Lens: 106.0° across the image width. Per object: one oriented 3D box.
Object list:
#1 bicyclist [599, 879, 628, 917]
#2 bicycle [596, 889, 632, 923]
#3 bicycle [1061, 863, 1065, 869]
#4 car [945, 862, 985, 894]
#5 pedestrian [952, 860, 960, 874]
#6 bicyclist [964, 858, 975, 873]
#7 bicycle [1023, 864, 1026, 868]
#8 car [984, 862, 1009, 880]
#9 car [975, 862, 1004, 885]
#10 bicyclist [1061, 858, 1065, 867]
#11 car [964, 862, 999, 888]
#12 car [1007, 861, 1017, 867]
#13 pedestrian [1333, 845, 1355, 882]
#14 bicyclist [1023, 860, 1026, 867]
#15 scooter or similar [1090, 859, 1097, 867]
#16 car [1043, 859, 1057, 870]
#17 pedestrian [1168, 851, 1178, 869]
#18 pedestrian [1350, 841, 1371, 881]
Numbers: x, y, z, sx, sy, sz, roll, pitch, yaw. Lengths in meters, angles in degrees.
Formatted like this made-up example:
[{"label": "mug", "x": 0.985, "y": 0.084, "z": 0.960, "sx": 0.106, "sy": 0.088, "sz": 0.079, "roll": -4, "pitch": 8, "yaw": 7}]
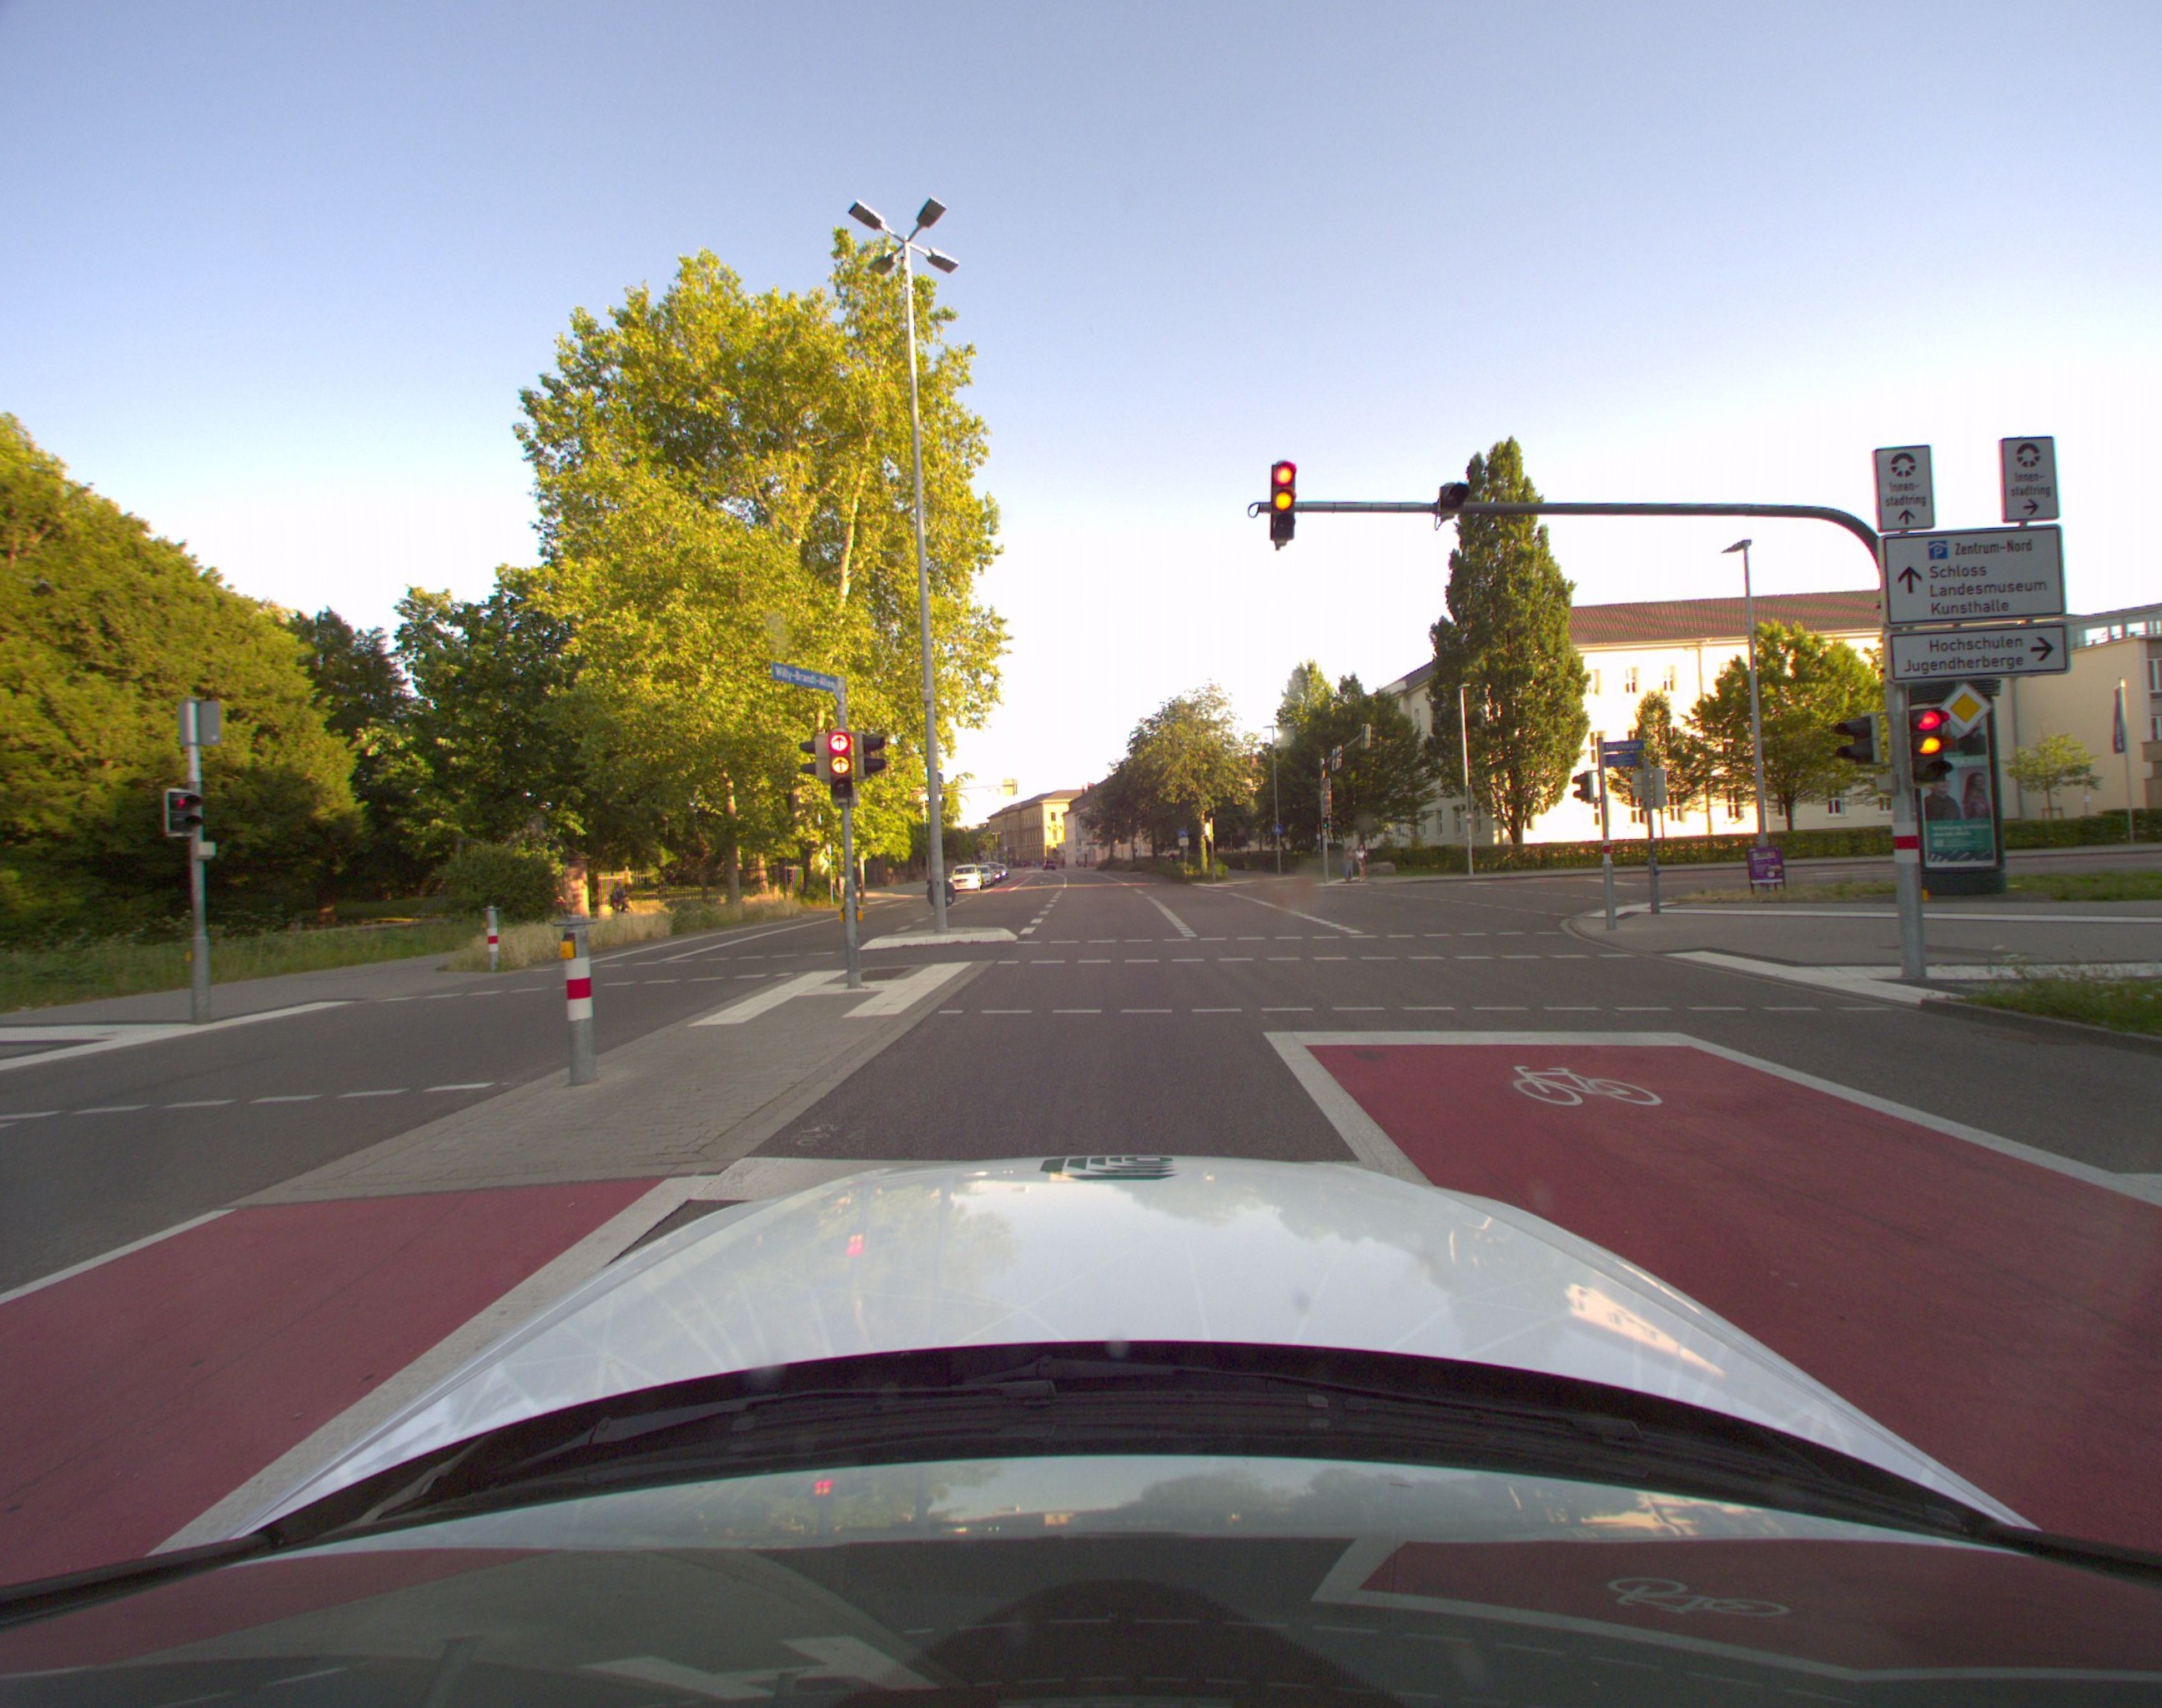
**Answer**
[{"label": "bicyclist", "x": -18.448, "y": 1.732, "z": 32.150, "sx": 0.796, "sy": 1.427, "sz": 0.881, "roll": -2, "pitch": -1, "yaw": -42}, {"label": "bicycle", "x": -18.423, "y": 2.028, "z": 32.110, "sx": 0.796, "sy": 1.256, "sz": 1.956, "roll": -2, "pitch": -1, "yaw": -41}, {"label": "bicycle", "x": -3.062, "y": 1.966, "z": 137.795, "sx": 0.650, "sy": 1.015, "sz": 2.195, "roll": 0, "pitch": -1, "yaw": -3}, {"label": "car", "x": -7.171, "y": 1.447, "z": 50.671, "sx": 1.912, "sy": 1.695, "sz": 4.422, "roll": -5, "pitch": 0, "yaw": -2}, {"label": "pedestrian", "x": -14.568, "y": 1.526, "z": 94.740, "sx": 0.678, "sy": 1.622, "sz": 0.689, "roll": -3, "pitch": 0, "yaw": 1}, {"label": "bicyclist", "x": -10.493, "y": 1.078, "z": 76.550, "sx": 0.852, "sy": 1.431, "sz": 0.944, "roll": -3, "pitch": 0, "yaw": 2}, {"label": "bicycle", "x": -13.810, "y": 2.946, "z": 199.445, "sx": 0.651, "sy": 1.015, "sz": 2.192, "roll": 0, "pitch": -1, "yaw": -7}, {"label": "car", "x": -7.795, "y": 1.561, "z": 75.339, "sx": 1.912, "sy": 1.417, "sz": 4.766, "roll": -5, "pitch": 0, "yaw": -2}, {"label": "car", "x": -7.380, "y": 1.517, "z": 65.980, "sx": 1.912, "sy": 1.624, "sz": 4.635, "roll": -5, "pitch": 0, "yaw": -2}, {"label": "bicyclist", "x": -3.069, "y": 1.481, "z": 137.798, "sx": 0.650, "sy": 1.475, "sz": 0.940, "roll": 0, "pitch": -1, "yaw": -3}, {"label": "car", "x": -6.977, "y": 1.441, "z": 57.547, "sx": 1.912, "sy": 1.583, "sz": 4.670, "roll": -5, "pitch": 0, "yaw": -2}, {"label": "car", "x": -17.110, "y": 2.437, "z": 201.518, "sx": 1.915, "sy": 1.417, "sz": 4.756, "roll": -5, "pitch": 0, "yaw": -8}, {"label": "pedestrian", "x": 11.882, "y": 0.418, "z": 36.760, "sx": 0.678, "sy": 1.622, "sz": 0.845, "roll": -3, "pitch": 0, "yaw": 1}, {"label": "bicyclist", "x": -13.815, "y": 2.270, "z": 199.451, "sx": 0.651, "sy": 1.698, "sz": 0.955, "roll": 0, "pitch": -1, "yaw": -7}, {"label": "scooter or similar", "x": 2.248, "y": 1.658, "z": 145.507, "sx": 0.630, "sy": 1.337, "sz": 2.390, "roll": -2, "pitch": -1, "yaw": -12}, {"label": "car", "x": -4.526, "y": 1.578, "z": 119.259, "sx": 1.862, "sy": 1.510, "sz": 3.999, "roll": -2, "pitch": -1, "yaw": 0}, {"label": "pedestrian", "x": 9.320, "y": 0.625, "z": 82.262, "sx": 0.769, "sy": 1.739, "sz": 0.805, "roll": -3, "pitch": 0, "yaw": -8}, {"label": "pedestrian", "x": 12.603, "y": 0.329, "z": 36.725, "sx": 0.678, "sy": 1.754, "sz": 0.689, "roll": -3, "pitch": 0, "yaw": 1}]
